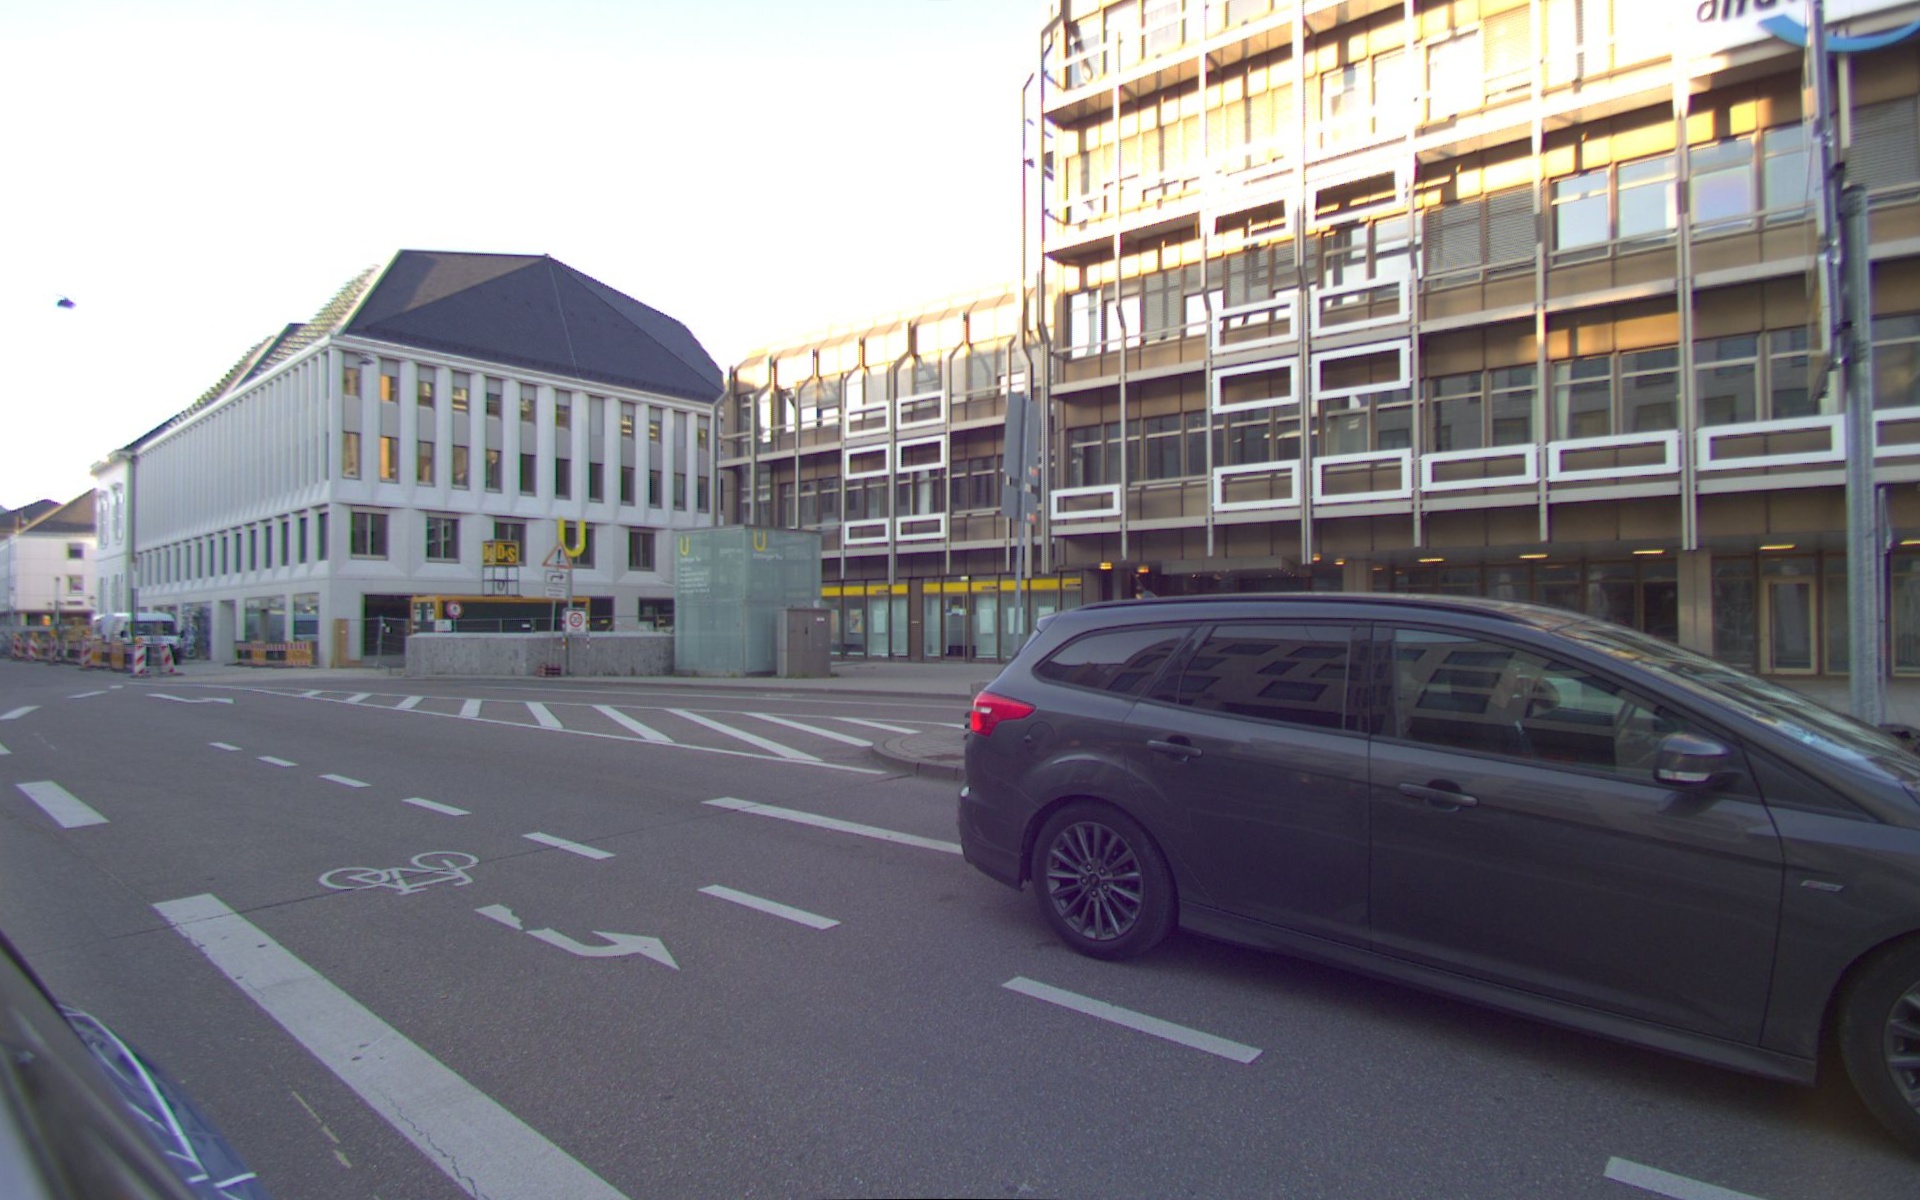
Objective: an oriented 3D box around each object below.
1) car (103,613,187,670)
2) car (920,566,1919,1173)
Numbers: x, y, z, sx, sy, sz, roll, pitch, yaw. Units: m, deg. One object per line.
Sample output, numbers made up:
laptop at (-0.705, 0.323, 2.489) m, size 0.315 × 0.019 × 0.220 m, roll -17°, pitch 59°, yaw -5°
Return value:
car at (-38.833, 1.951, 48.162) m, size 6.047 × 2.575 × 2.114 m, roll -2°, pitch -3°, yaw 41°
car at (2.055, 0.673, 3.826) m, size 4.377 × 1.473 × 1.740 m, roll -2°, pitch -1°, yaw 40°
